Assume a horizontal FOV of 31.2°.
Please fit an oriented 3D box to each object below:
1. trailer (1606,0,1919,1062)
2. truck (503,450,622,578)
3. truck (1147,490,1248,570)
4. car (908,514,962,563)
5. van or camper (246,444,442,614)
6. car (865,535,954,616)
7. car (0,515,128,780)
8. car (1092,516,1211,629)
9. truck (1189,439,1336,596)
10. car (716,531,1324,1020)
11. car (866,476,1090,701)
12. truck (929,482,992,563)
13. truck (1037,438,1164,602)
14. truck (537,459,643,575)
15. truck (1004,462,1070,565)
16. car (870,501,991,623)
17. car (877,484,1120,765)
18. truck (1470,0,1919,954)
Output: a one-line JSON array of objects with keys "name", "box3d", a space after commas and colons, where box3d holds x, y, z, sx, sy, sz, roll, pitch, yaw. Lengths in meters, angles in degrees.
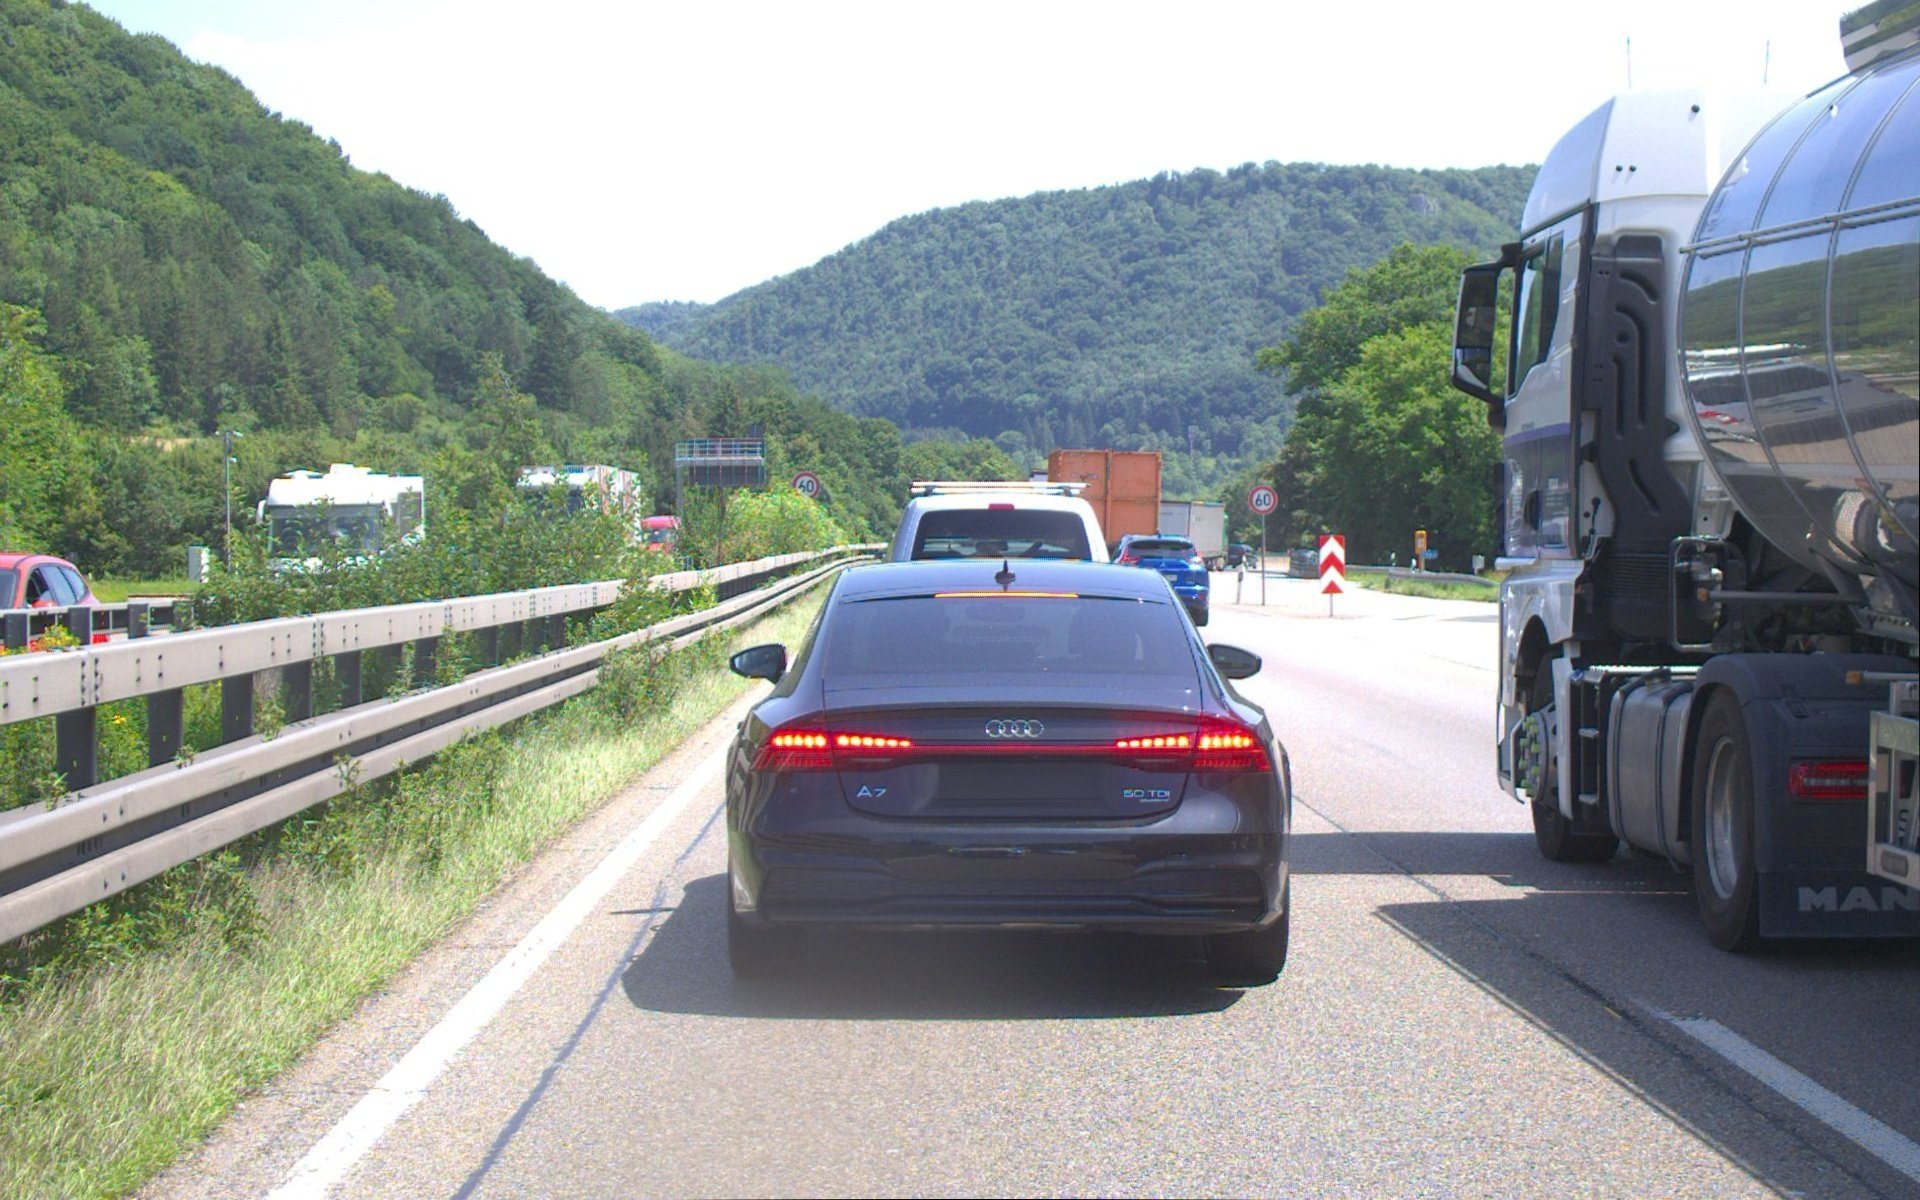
[{"name": "trailer", "box3d": [4.057, -0.500, 8.225, 2.538, 3.722, 11.892, 0, 1, -1]}, {"name": "truck", "box3d": [-12.951, -2.806, 112.853, 2.869, 3.992, 10.172, 0, 1, -1]}, {"name": "truck", "box3d": [13.866, -4.055, 199.507, 3.795, 4.399, 14.948, 0, 1, 12]}, {"name": "car", "box3d": [-0.808, -2.060, 114.881, 1.712, 1.613, 4.000, 0, 1, 1]}, {"name": "van or camper", "box3d": [-12.703, -1.470, 71.533, 2.590, 3.324, 7.648, 0, 1, 1]}, {"name": "car", "box3d": [-1.024, -0.526, 70.816, 1.712, 1.613, 4.000, 0, 1, 1]}, {"name": "car", "box3d": [-8.260, 0.312, 28.193, 1.993, 2.007, 4.335, 0, 1, -2]}, {"name": "car", "box3d": [3.494, -0.533, 63.237, 1.993, 1.996, 4.000, 0, 1, 1]}, {"name": "truck", "box3d": [8.219, -2.253, 95.262, 2.817, 3.989, 14.956, 0, 1, 0]}, {"name": "car", "box3d": [0.058, 0.497, 12.510, 1.849, 1.483, 4.083, 0, 1, -4]}, {"name": "car", "box3d": [0.143, -0.143, 32.868, 1.993, 2.007, 4.000, 0, 1, -1]}, {"name": "truck", "box3d": [0.032, -3.405, 151.396, 2.628, 3.429, 11.421, 0, 1, 0]}, {"name": "truck", "box3d": [3.604, -2.095, 91.556, 2.817, 3.989, 14.956, 0, 1, 0]}, {"name": "truck", "box3d": [-13.115, -2.936, 122.445, 2.869, 3.967, 9.032, 0, 1, -1]}, {"name": "truck", "box3d": [2.667, -3.032, 121.920, 1.993, 3.435, 11.812, 0, 1, 0]}, {"name": "car", "box3d": [-0.525, -0.663, 59.070, 1.993, 2.007, 4.000, -1, 1, -1]}, {"name": "car", "box3d": [0.231, 0.123, 24.524, 1.576, 1.827, 4.000, 0, 1, -1]}, {"name": "truck", "box3d": [3.930, -0.648, 14.970, 2.511, 3.745, 5.246, 0, 1, -1]}]
